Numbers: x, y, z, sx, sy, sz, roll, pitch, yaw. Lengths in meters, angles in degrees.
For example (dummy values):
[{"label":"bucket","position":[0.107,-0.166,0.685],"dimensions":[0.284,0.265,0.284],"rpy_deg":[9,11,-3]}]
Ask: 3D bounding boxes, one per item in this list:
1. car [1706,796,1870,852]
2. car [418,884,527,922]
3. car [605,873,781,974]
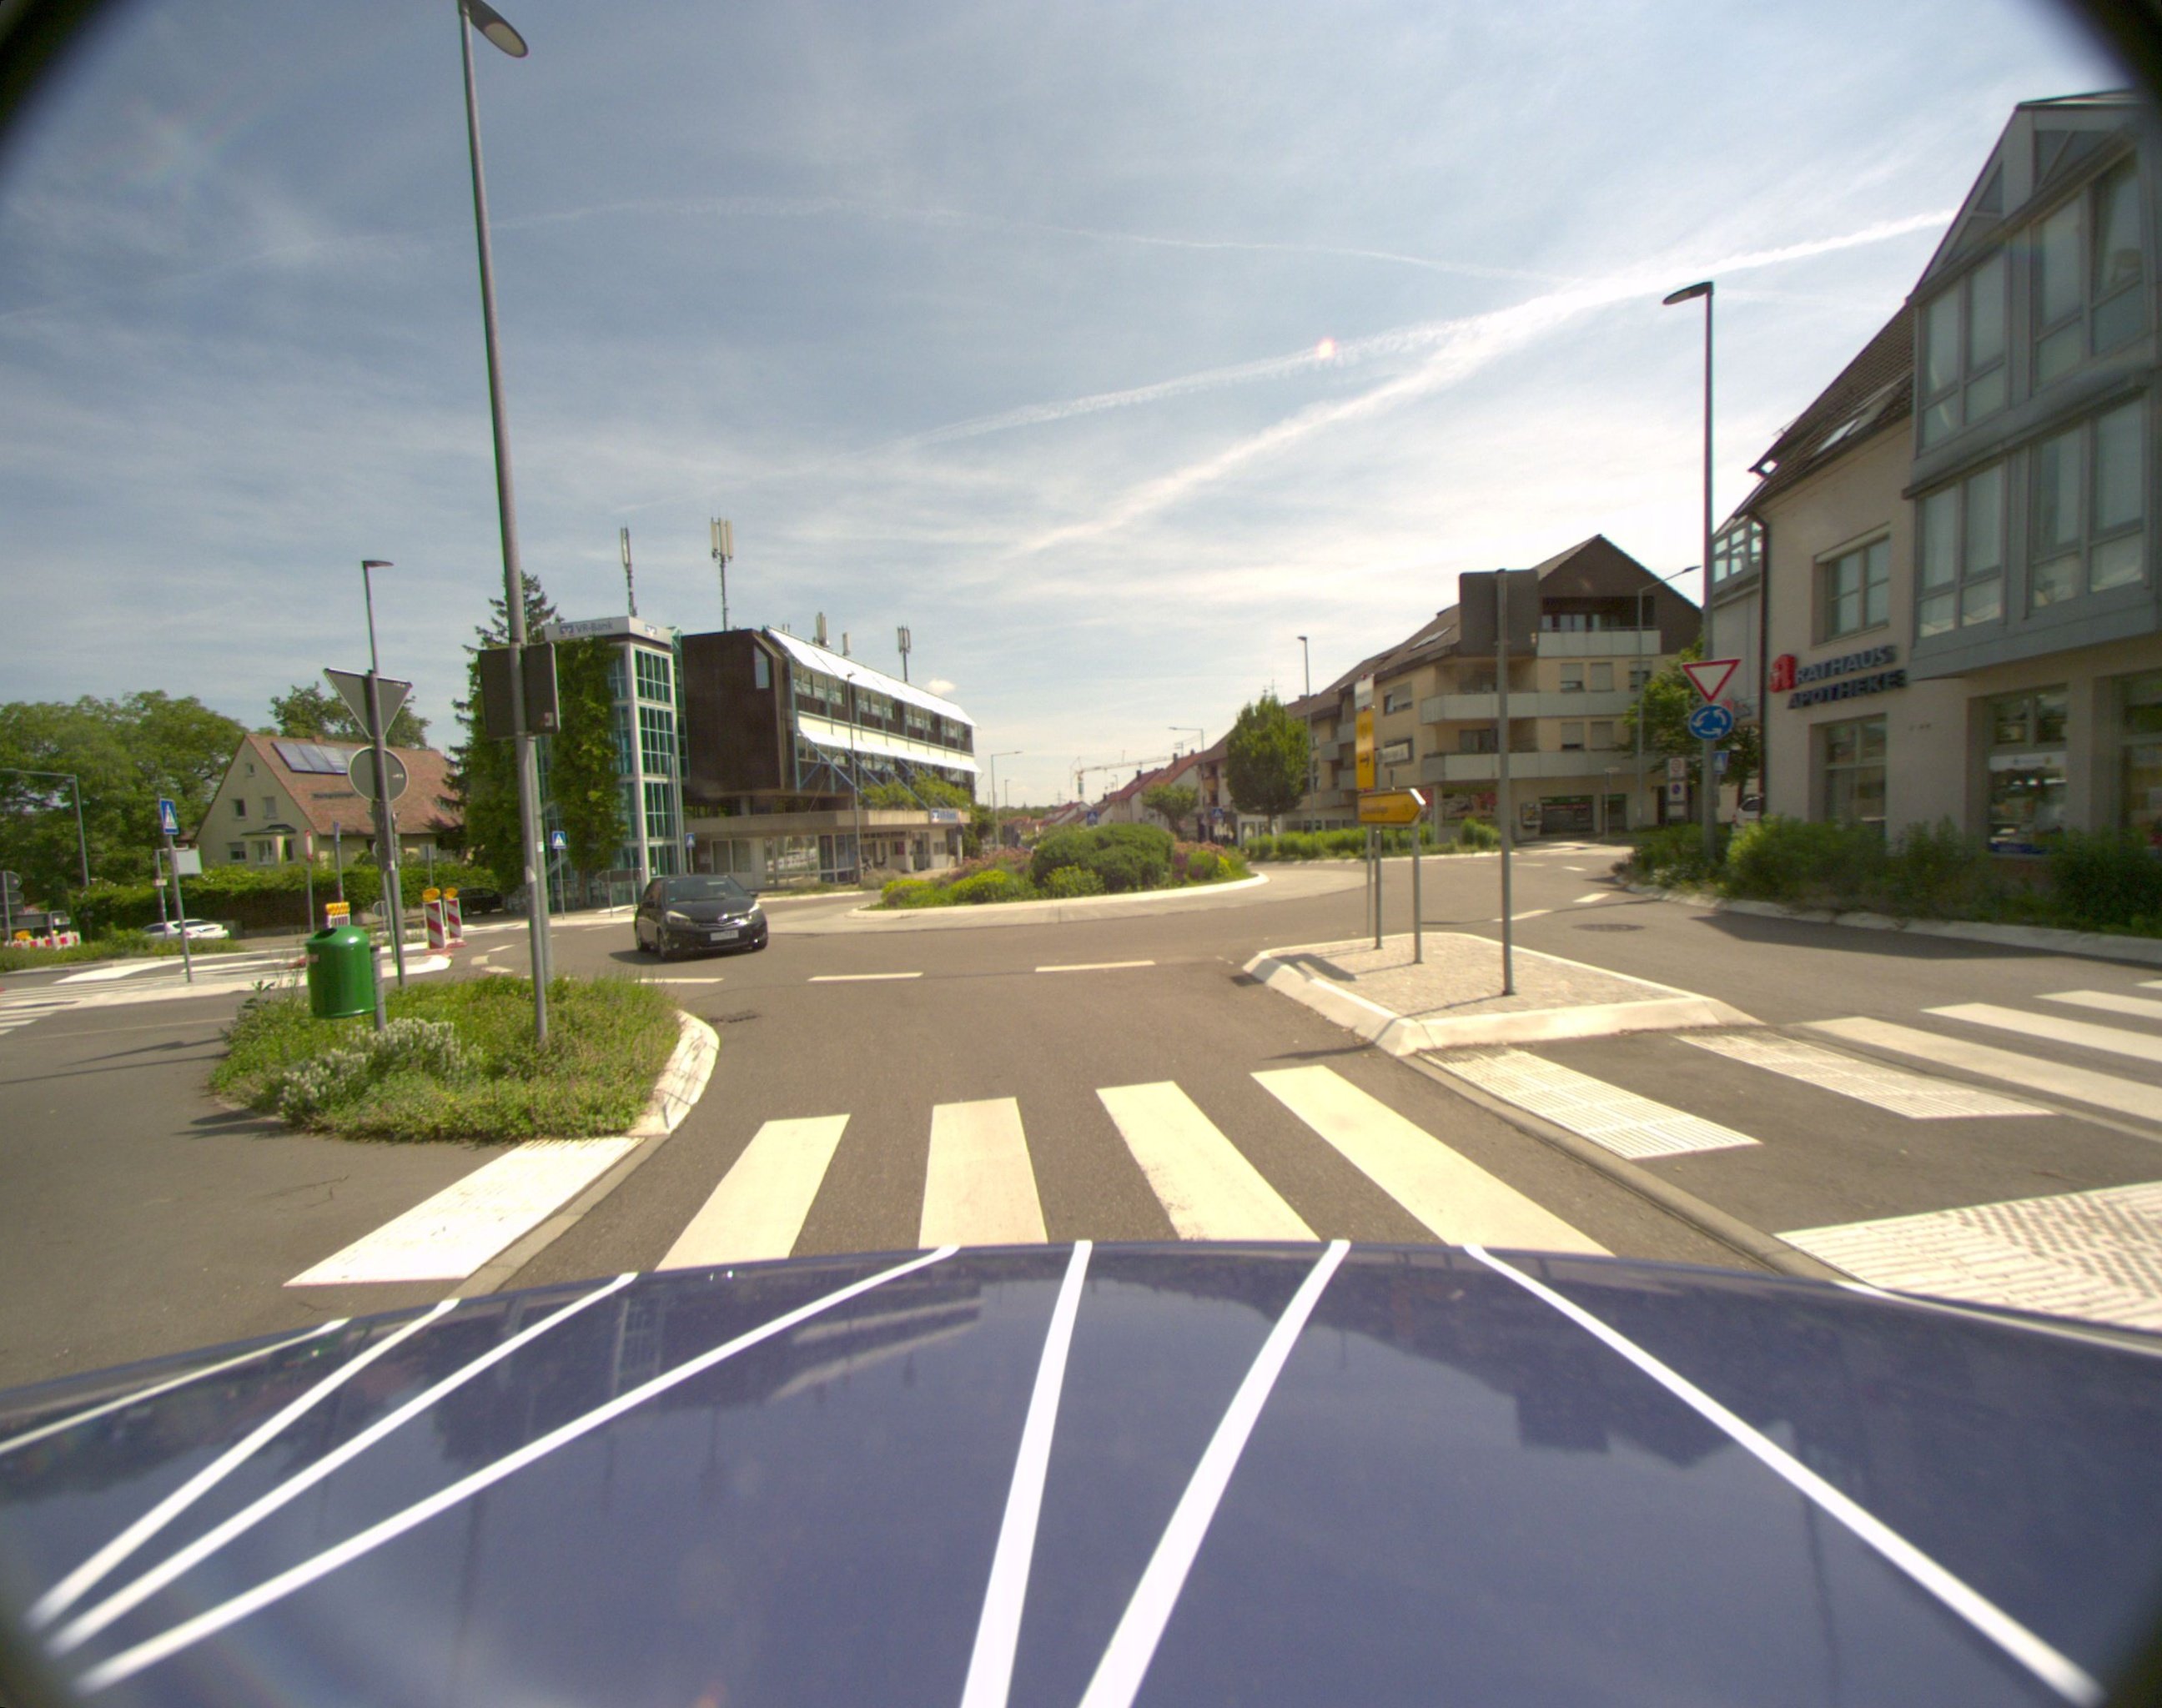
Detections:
[{"label":"car","position":[23.969,-1.003,25.818],"dimensions":[4.223,1.618,1.972],"rpy_deg":[-4,1,-12]},{"label":"car","position":[-32.911,2.602,41.293],"dimensions":[1.860,1.429,4.229],"rpy_deg":[-4,3,14]},{"label":"car","position":[-7.370,1.167,14.193],"dimensions":[1.729,1.449,4.418],"rpy_deg":[-6,2,-42]}]
